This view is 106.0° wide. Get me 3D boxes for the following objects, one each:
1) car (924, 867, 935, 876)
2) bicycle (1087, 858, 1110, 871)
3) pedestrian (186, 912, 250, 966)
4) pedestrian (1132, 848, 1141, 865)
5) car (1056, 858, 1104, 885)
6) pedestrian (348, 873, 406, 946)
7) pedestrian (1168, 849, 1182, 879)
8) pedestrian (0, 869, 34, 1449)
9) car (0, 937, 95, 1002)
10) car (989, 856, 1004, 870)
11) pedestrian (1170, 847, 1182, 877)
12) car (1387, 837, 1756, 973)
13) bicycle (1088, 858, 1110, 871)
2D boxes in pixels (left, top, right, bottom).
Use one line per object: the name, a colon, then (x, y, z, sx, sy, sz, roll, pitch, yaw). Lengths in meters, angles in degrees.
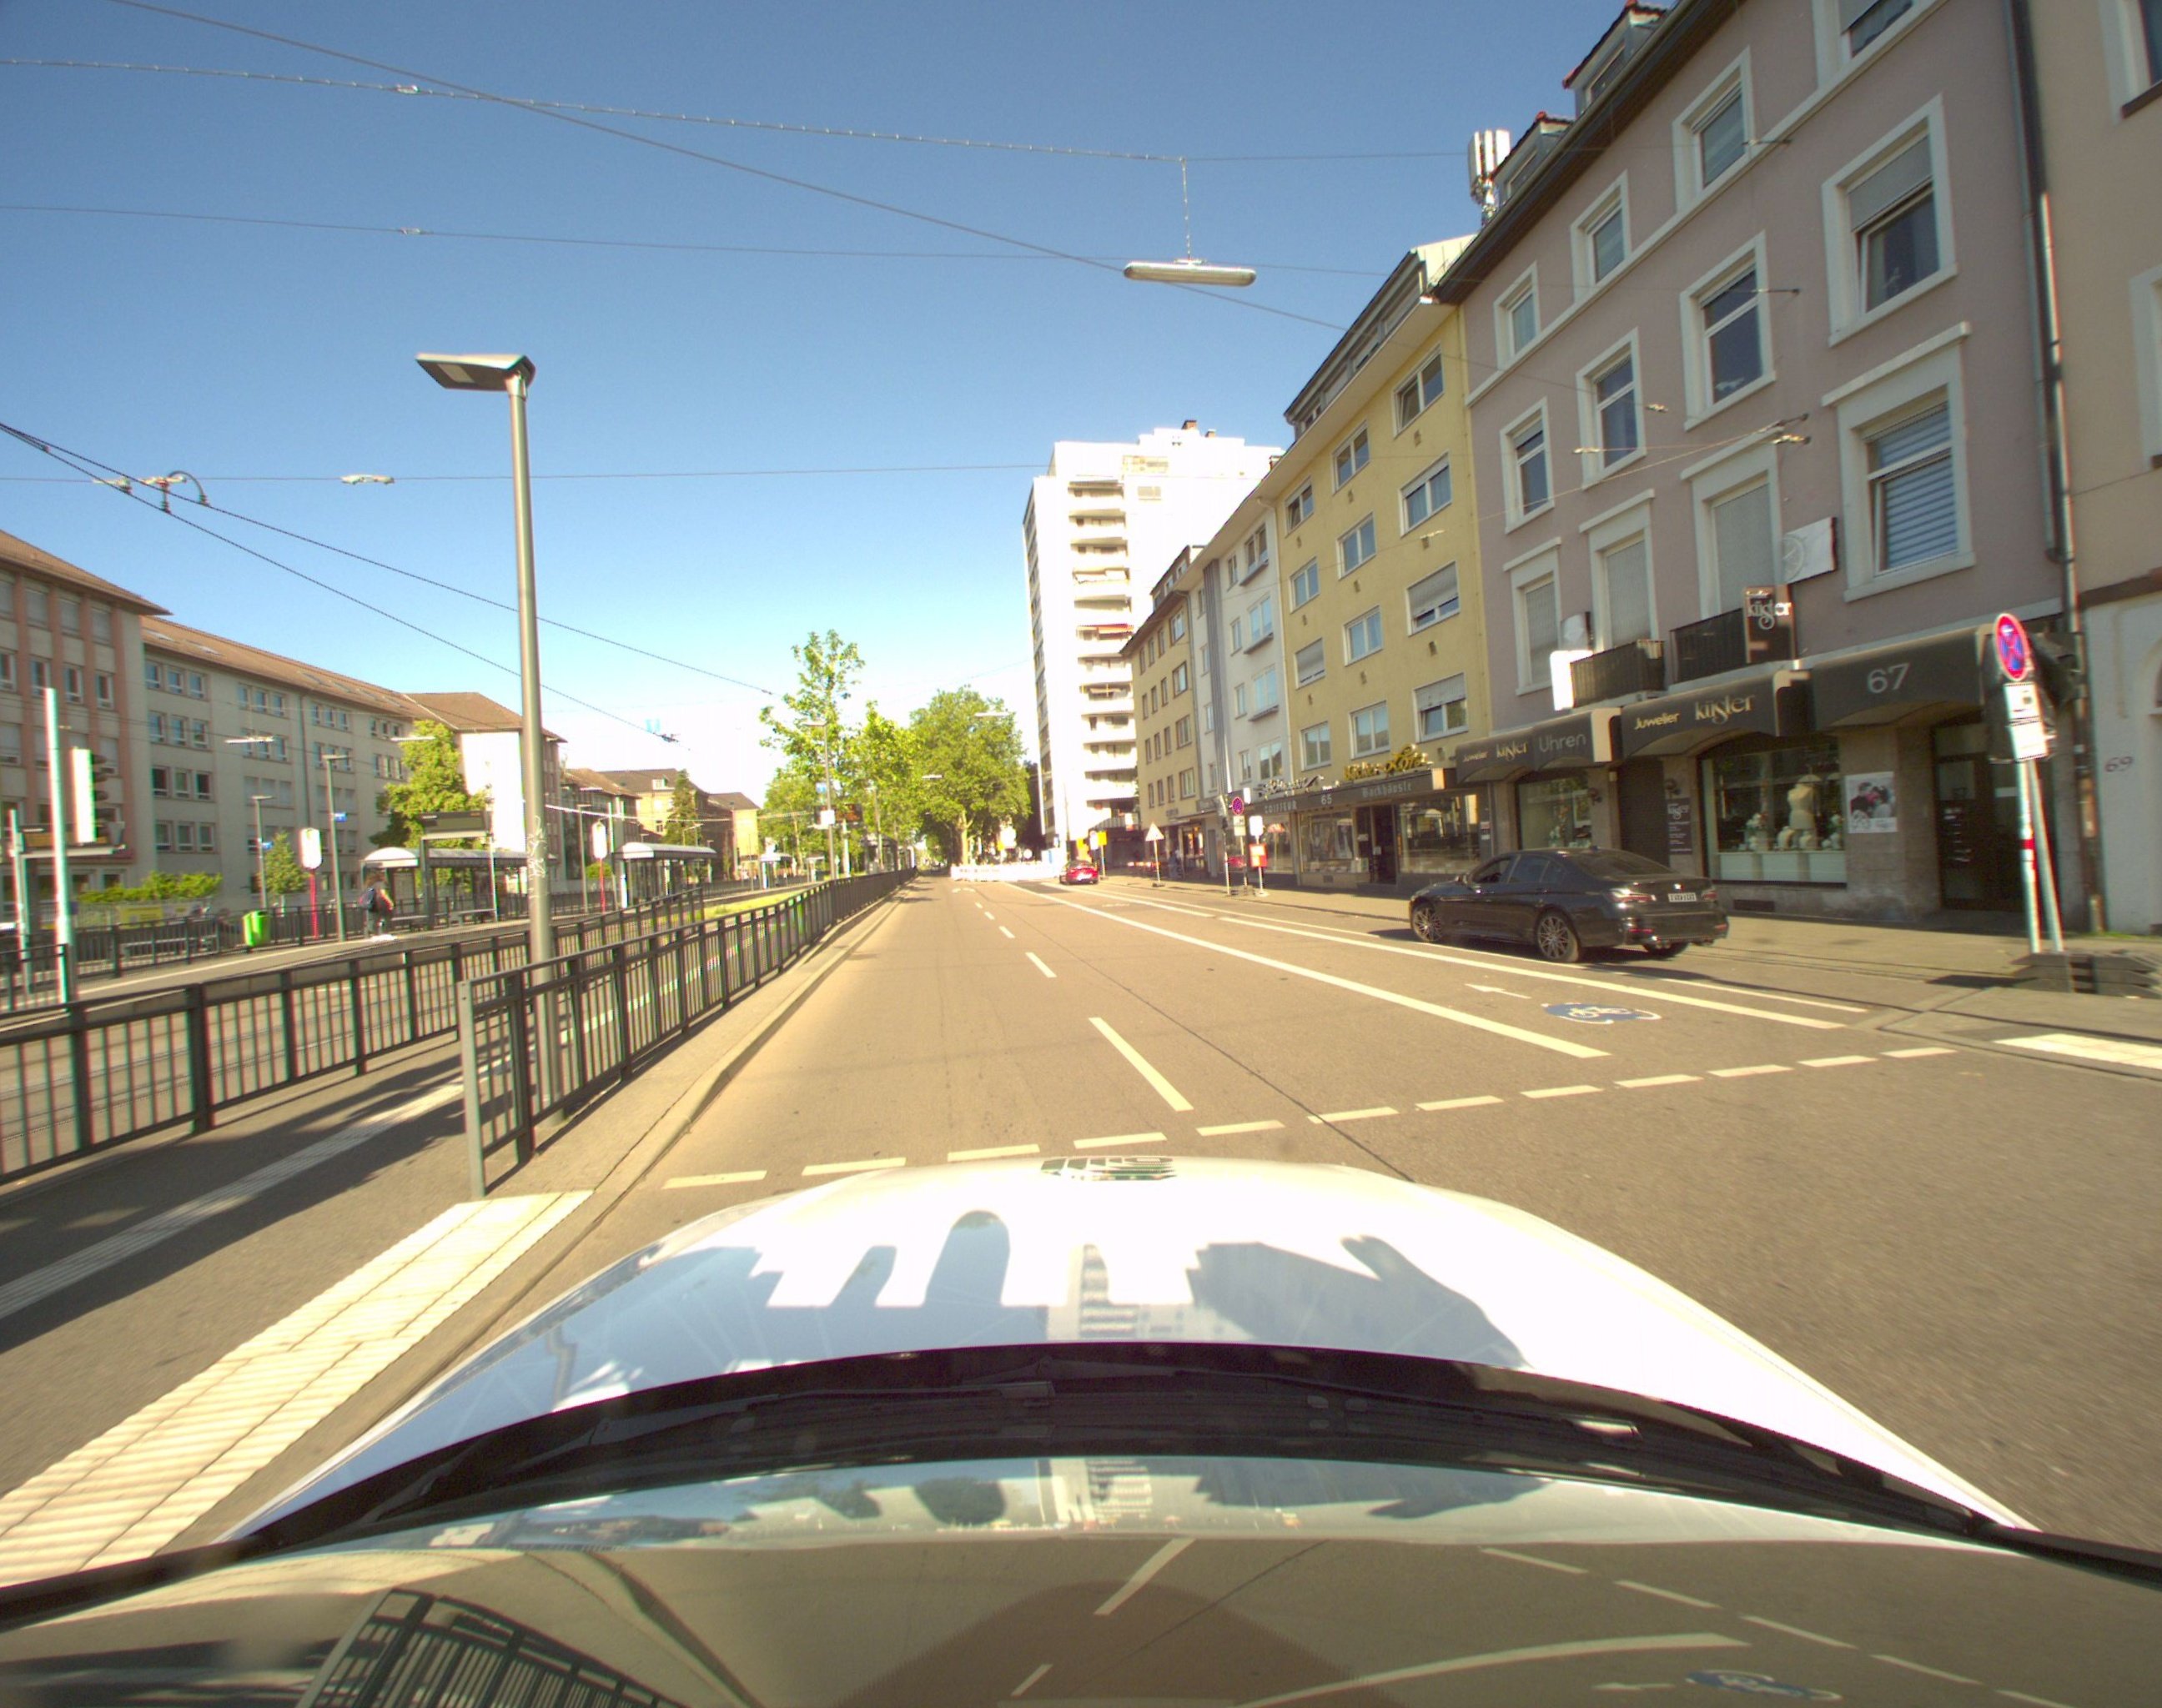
car: (-29.268, 3.342, 157.313, 1.970, 1.509, 3.984, -3, 0, -11)
bicycle: (1.589, 0.966, 74.308, 1.933, 1.067, 0.584, -3, 0, 6)
pedestrian: (-24.762, 2.429, 23.381, 1.043, 1.420, 0.575, -4, 0, -15)
pedestrian: (5.472, 0.210, 80.666, 0.674, 1.641, 0.578, -4, 1, -3)
car: (-0.096, 1.000, 47.801, 1.938, 1.430, 3.983, -3, 0, -12)
pedestrian: (-15.969, 1.240, 18.484, 0.590, 1.568, 0.734, -3, 0, 11)
pedestrian: (4.892, 0.519, 42.417, 0.506, 1.562, 0.464, -3, 0, -8)
pedestrian: (-3.467, 0.758, 2.141, 0.813, 1.733, 0.794, -4, 0, 36)
car: (-29.868, 3.266, 22.046, 1.736, 1.519, 3.988, -4, 0, -9)
car: (-12.958, 1.370, 124.992, 1.990, 2.013, 3.994, -3, 0, -4)
pedestrian: (5.220, 0.434, 44.859, 0.470, 1.644, 0.506, -3, 0, -8)
car: (6.520, 0.597, 11.601, 1.740, 1.440, 4.635, -3, 0, -12)
bicycle: (1.623, 0.975, 73.599, 1.933, 1.067, 0.584, -3, 0, 6)
